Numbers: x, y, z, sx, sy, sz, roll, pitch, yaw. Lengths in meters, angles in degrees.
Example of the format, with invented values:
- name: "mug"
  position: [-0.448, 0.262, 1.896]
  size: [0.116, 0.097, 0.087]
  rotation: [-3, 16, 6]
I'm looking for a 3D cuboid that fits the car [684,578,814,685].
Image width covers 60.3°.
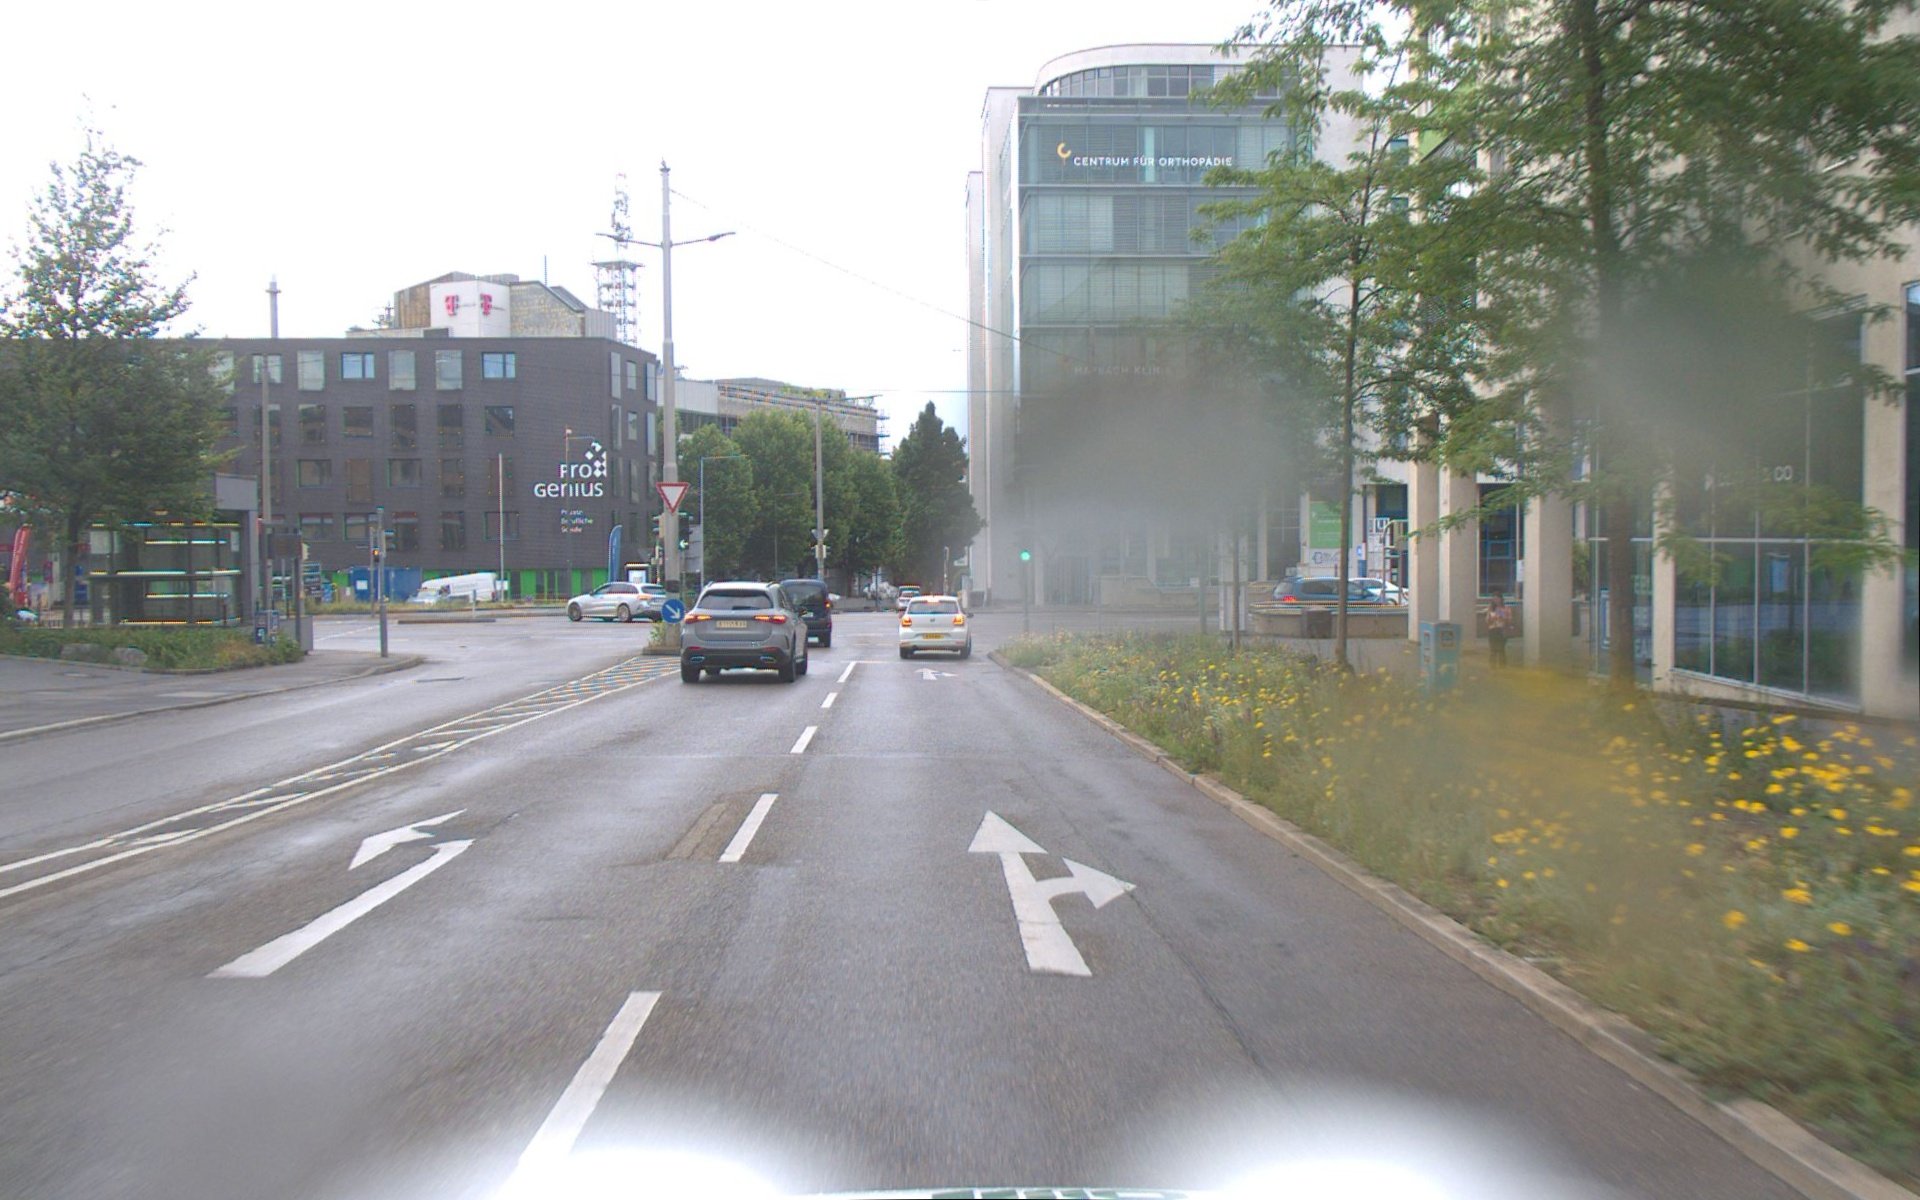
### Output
- name: "car"
  position: [-3.545, 0.493, 28.429]
  size: [1.870, 1.660, 4.208]
  rotation: [1, 0, -3]

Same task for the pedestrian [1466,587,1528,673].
- name: "pedestrian"
  position: [11.295, 0.615, 34.791]
  size: [0.859, 1.742, 1.082]
  rotation: [2, 1, 41]

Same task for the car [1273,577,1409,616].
- name: "car"
  position: [14.801, -0.146, 64.339]
  size: [4.849, 1.411, 1.822]
  rotation: [0, 1, -4]

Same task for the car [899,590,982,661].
- name: "car"
  position: [-0.439, 0.585, 40.206]
  size: [1.635, 1.499, 3.783]
  rotation: [0, 2, 5]

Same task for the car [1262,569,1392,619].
- name: "car"
  position: [12.589, -0.233, 56.797]
  size: [3.919, 1.601, 1.993]
  rotation: [-1, 2, -14]

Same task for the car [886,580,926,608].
- name: "car"
  position: [-3.615, -0.366, 109.245]
  size: [1.958, 1.747, 3.988]
  rotation: [2, 0, -12]

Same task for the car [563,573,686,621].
- name: "car"
  position: [-12.526, -0.118, 61.709]
  size: [4.400, 1.606, 1.993]
  rotation: [2, 0, 35]

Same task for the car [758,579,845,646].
- name: "car"
  position: [-4.536, 0.320, 46.891]
  size: [1.822, 1.799, 4.114]
  rotation: [0, 0, -15]

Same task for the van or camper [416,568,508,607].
- name: "van or camper"
  position: [-32.931, -0.797, 109.495]
  size: [5.223, 2.410, 2.737]
  rotation: [2, 0, -3]
